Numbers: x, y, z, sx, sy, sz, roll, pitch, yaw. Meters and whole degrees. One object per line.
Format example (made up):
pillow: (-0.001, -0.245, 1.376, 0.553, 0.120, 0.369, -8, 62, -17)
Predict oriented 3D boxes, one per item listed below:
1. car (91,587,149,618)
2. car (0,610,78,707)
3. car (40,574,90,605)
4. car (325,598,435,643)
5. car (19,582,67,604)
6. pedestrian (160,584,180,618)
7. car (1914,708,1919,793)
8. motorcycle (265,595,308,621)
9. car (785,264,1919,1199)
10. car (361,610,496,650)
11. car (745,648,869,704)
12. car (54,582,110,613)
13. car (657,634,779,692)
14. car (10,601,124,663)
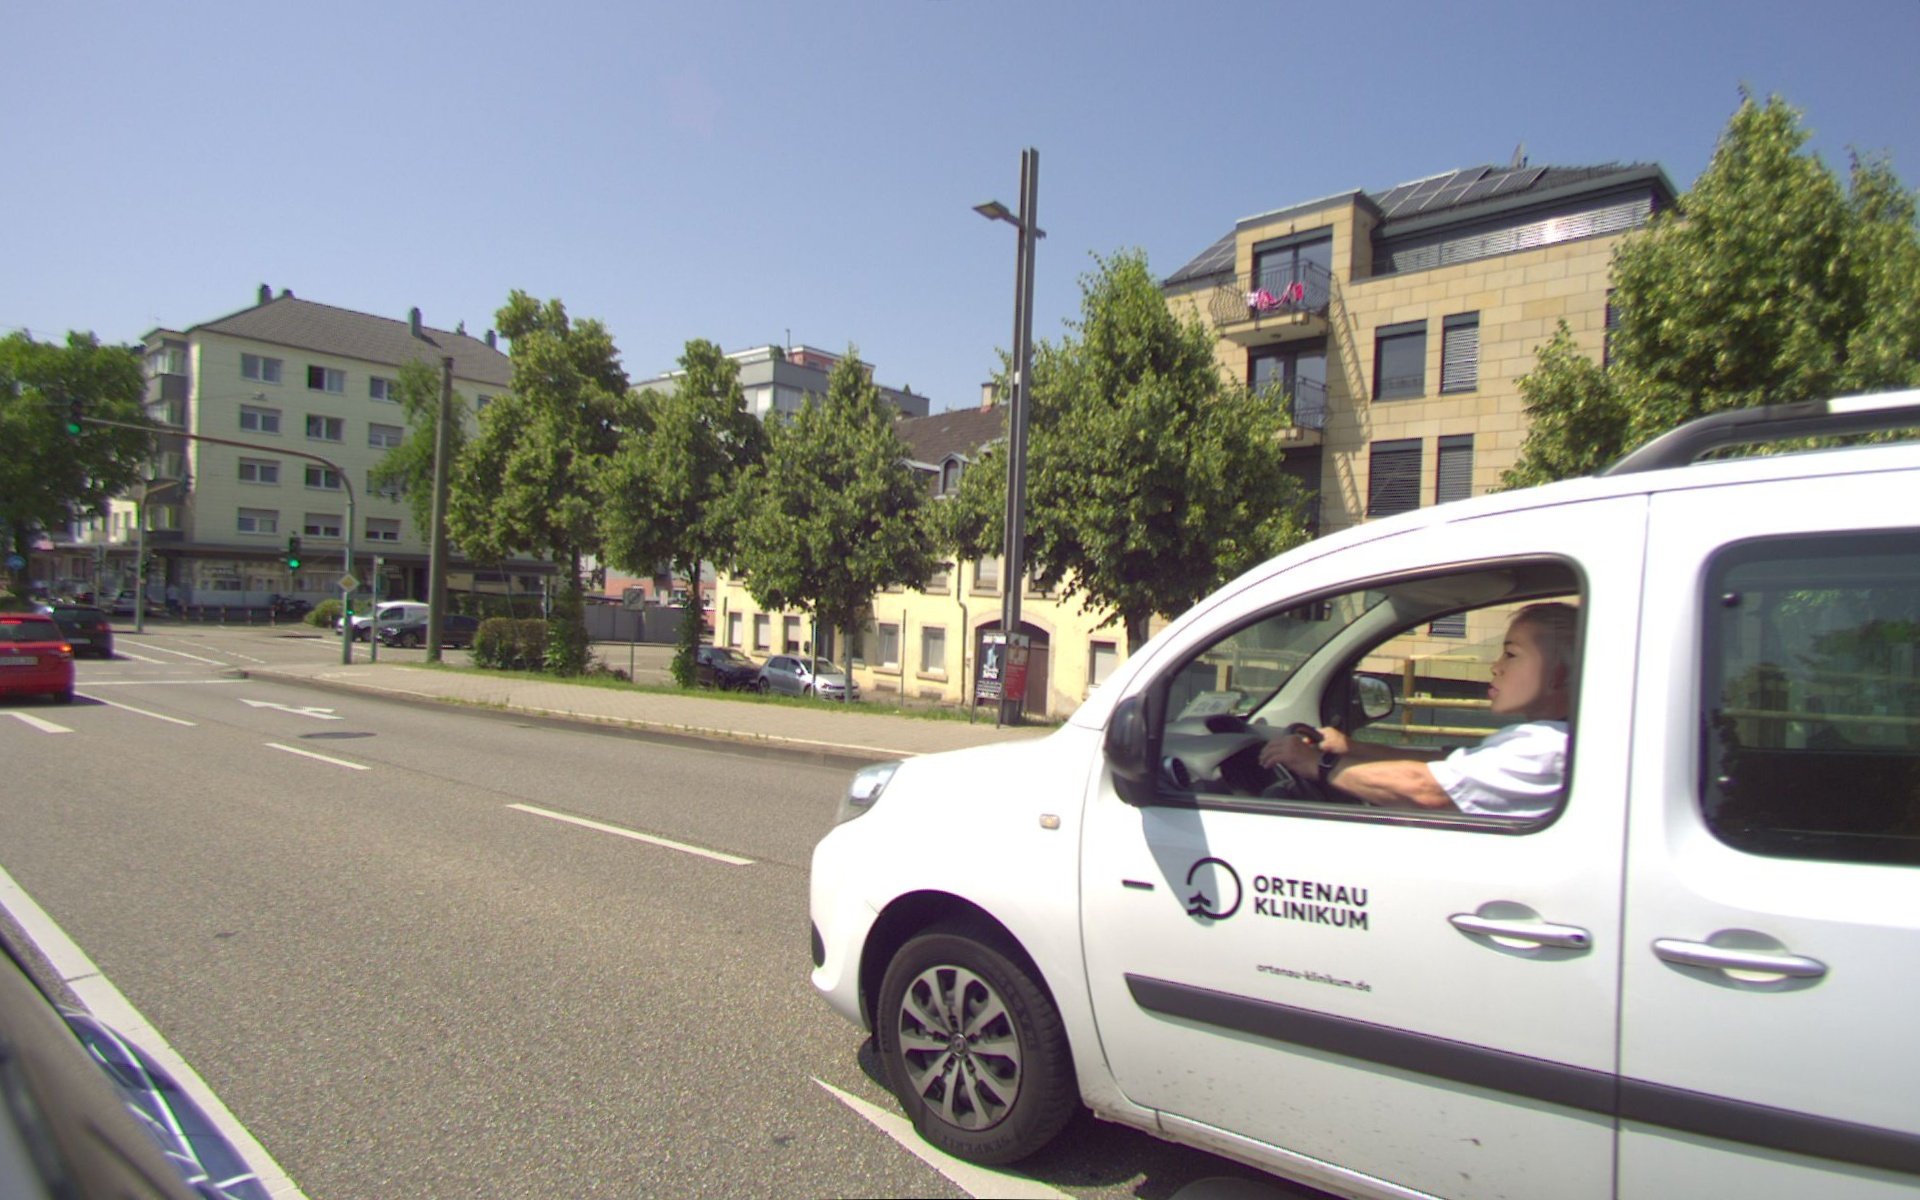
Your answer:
car: (-44.952, 0.133, 54.151, 3.935, 1.469, 1.567, 2, 1, 38)
car: (-16.307, 0.911, 16.852, 3.854, 1.475, 1.632, 0, -1, 36)
car: (-55.639, -0.676, 62.902, 3.855, 1.853, 1.623, 2, 1, 38)
car: (-25.532, 0.932, 44.630, 1.891, 1.748, 3.652, 2, -2, 36)
car: (-60.022, -0.482, 66.240, 3.856, 1.296, 1.683, 2, 1, 38)
pedestrian: (-42.180, 0.040, 54.011, 0.742, 1.773, 0.621, 4, 1, 38)
car: (22.385, 3.353, 22.247, 2.001, 1.662, 3.942, 1, -2, 44)
motorcycle: (-38.343, 0.460, 57.638, 0.714, 1.431, 1.896, 4, 2, 39)
car: (1.896, 0.475, 2.202, 4.656, 1.874, 1.820, -1, -2, 38)
car: (-22.488, 1.303, 42.952, 2.112, 1.411, 4.565, 2, -2, 34)
car: (-5.041, 2.402, 32.917, 1.755, 1.443, 4.433, 0, 1, -44)
car: (-51.220, -0.156, 59.026, 4.834, 1.580, 1.606, 2, 1, 38)
car: (-8.888, 2.261, 36.885, 1.793, 1.640, 5.291, 5, -2, -44)
car: (-25.128, 0.888, 28.446, 4.027, 1.496, 1.697, 1, -3, 39)
